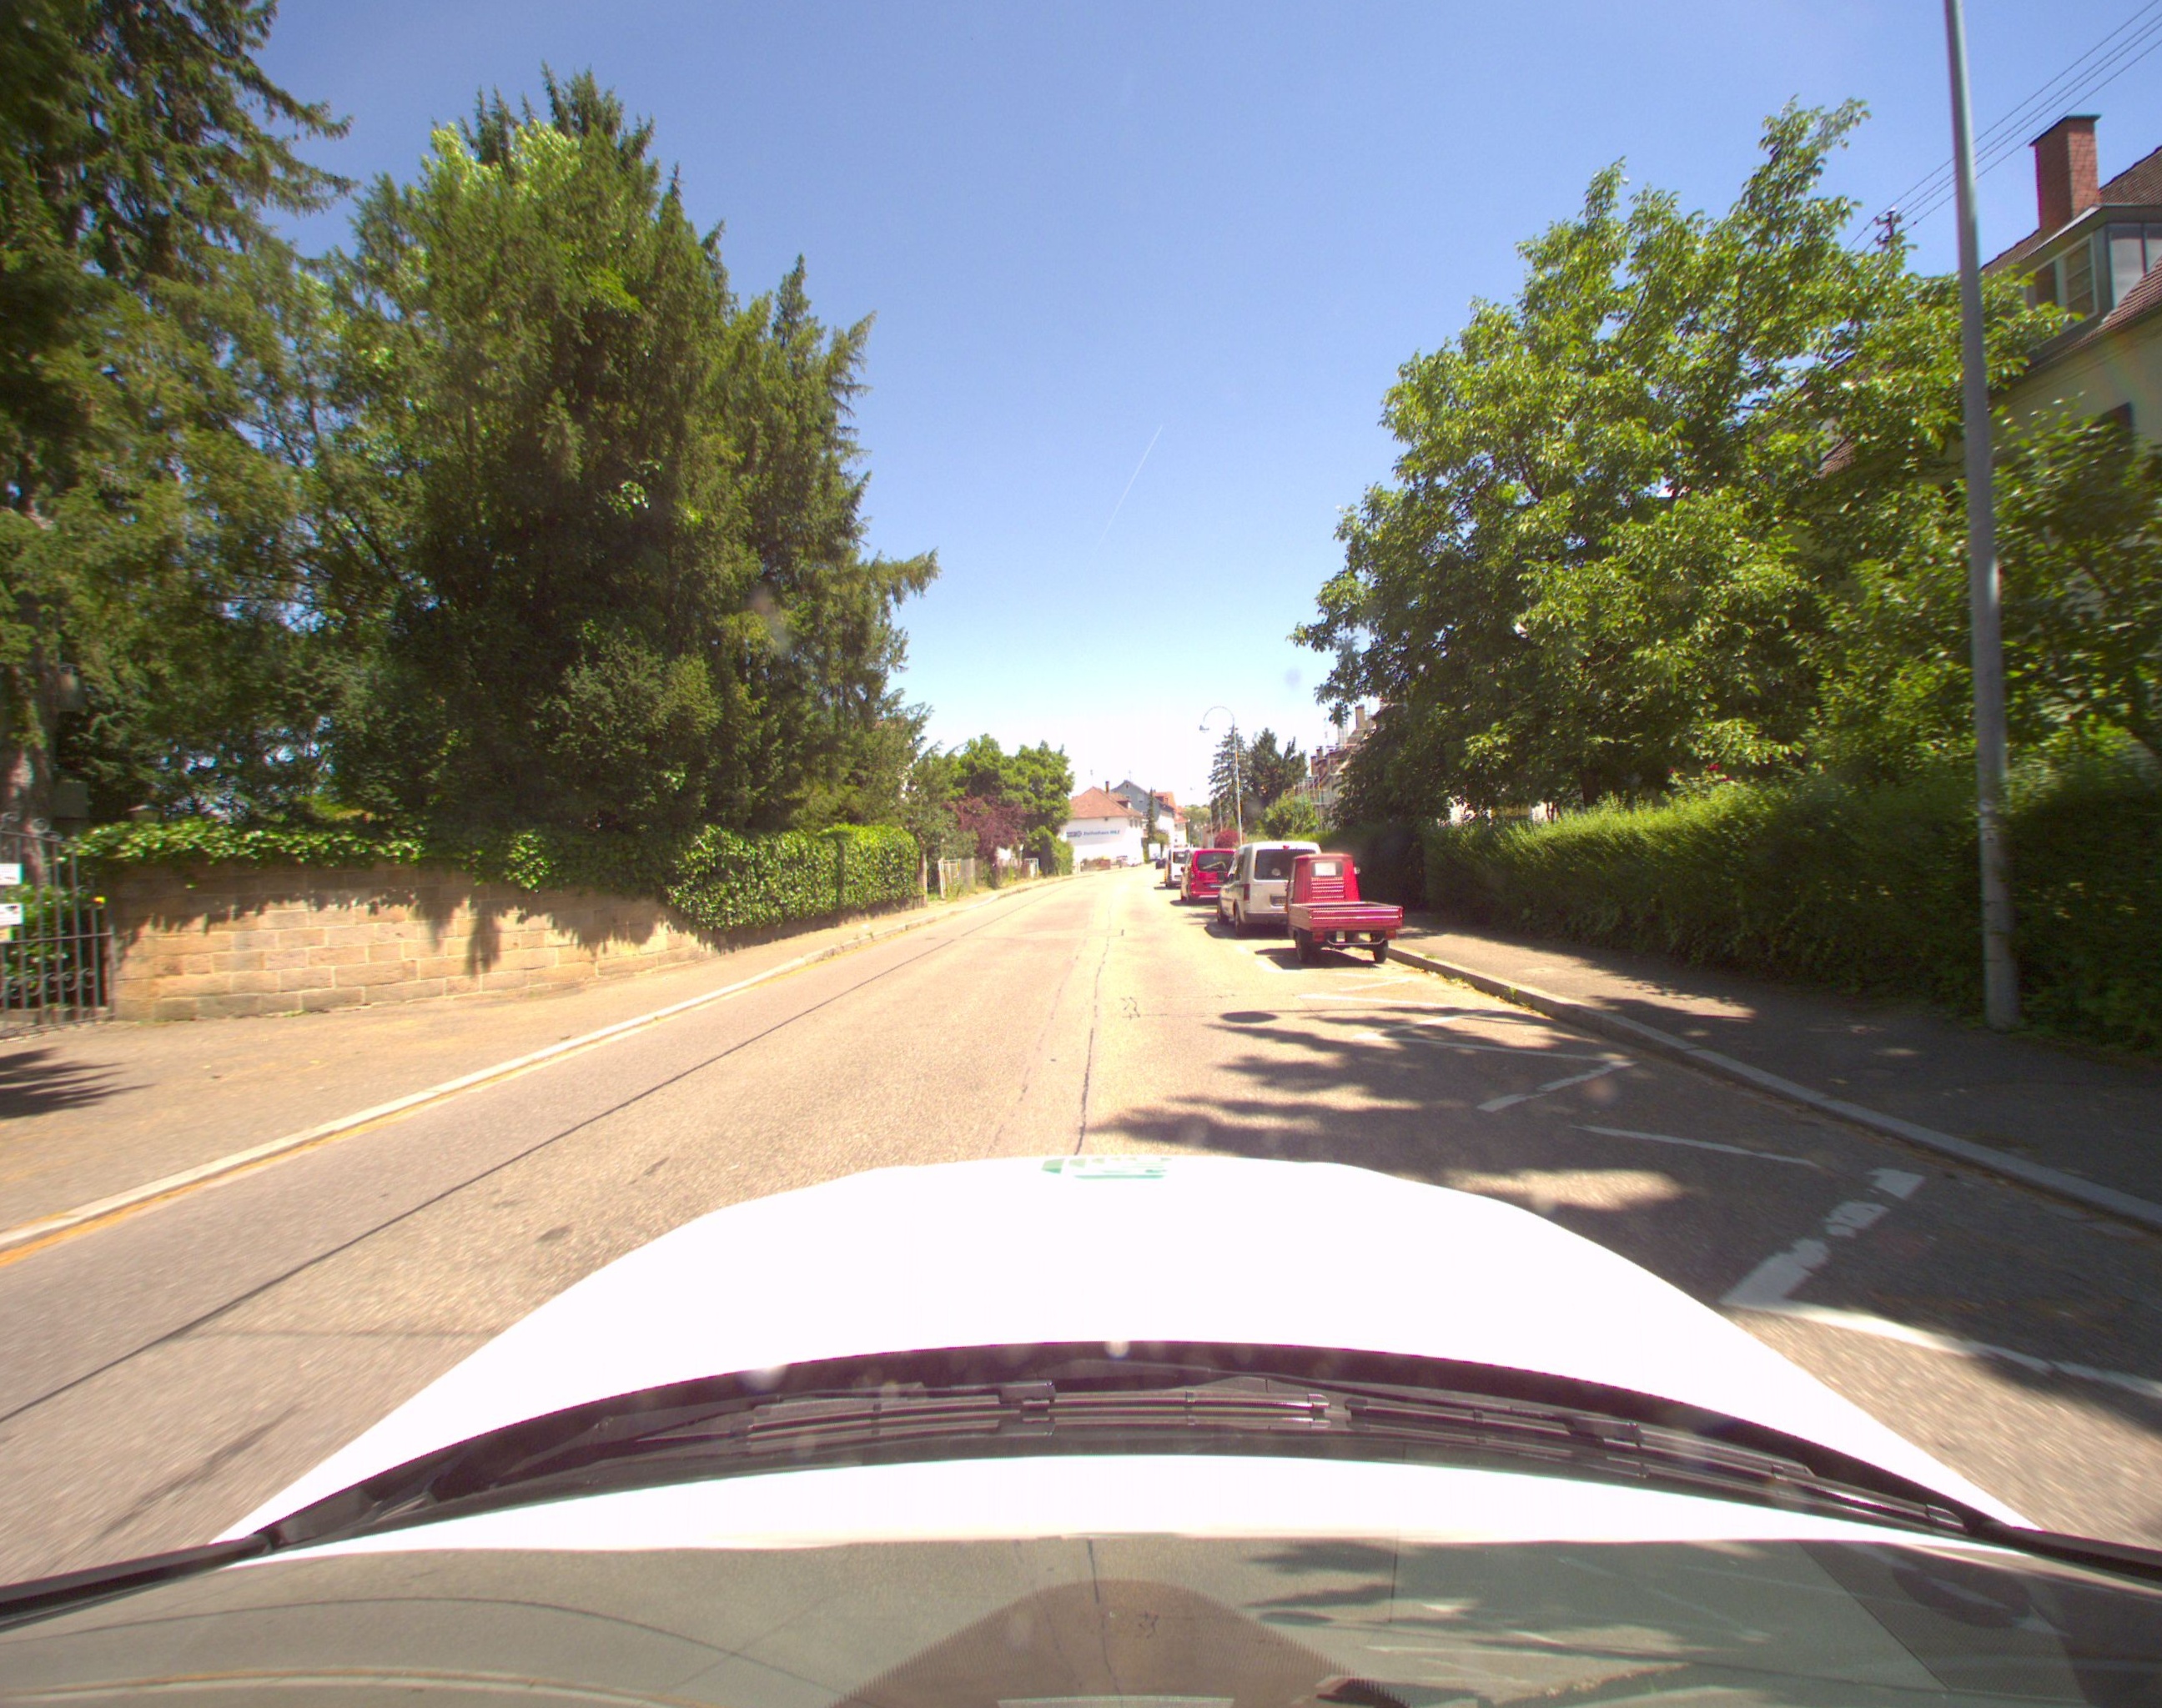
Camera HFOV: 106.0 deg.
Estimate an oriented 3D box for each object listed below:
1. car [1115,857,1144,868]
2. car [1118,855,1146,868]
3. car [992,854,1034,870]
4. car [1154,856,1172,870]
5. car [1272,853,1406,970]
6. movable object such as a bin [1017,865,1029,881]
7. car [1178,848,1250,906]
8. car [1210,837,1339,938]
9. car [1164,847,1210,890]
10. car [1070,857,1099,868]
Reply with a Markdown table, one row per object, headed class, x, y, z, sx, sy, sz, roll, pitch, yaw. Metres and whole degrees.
| class | x | y | z | sx | sy | sz | roll | pitch | yaw |
| --- | --- | --- | --- | --- | --- | --- | --- | --- | --- |
| car | 7.172 | 1.282 | 120.089 | 4.102 | 1.394 | 1.834 | -2 | 0 | 11 |
| car | 7.666 | 1.074 | 122.587 | 4.106 | 1.774 | 1.832 | -2 | 0 | 7 |
| car | -6.707 | 0.788 | 80.764 | 3.974 | 1.510 | 1.800 | -1 | 0 | -1 |
| car | 9.614 | 1.049 | 95.531 | 1.783 | 1.510 | 4.011 | -1 | 0 | 10 |
| car | 3.623 | 0.753 | 11.817 | 1.255 | 1.495 | 2.712 | 0 | 0 | 4 |
| movable object such as a bin | -3.820 | 1.246 | 53.905 | 0.705 | 0.996 | 0.474 | -2 | -1 | 2 |
| car | 4.243 | 0.720 | 26.654 | 1.895 | 1.728 | 4.395 | 0 | -1 | 3 |
| car | 3.794 | 0.609 | 16.733 | 1.739 | 1.782 | 4.546 | -1 | 0 | 3 |
| car | 5.114 | 0.685 | 39.928 | 1.895 | 1.925 | 4.723 | -2 | 0 | 3 |
| car | 0.512 | 1.175 | 112.563 | 1.810 | 1.510 | 3.951 | -2 | 0 | -42 |
